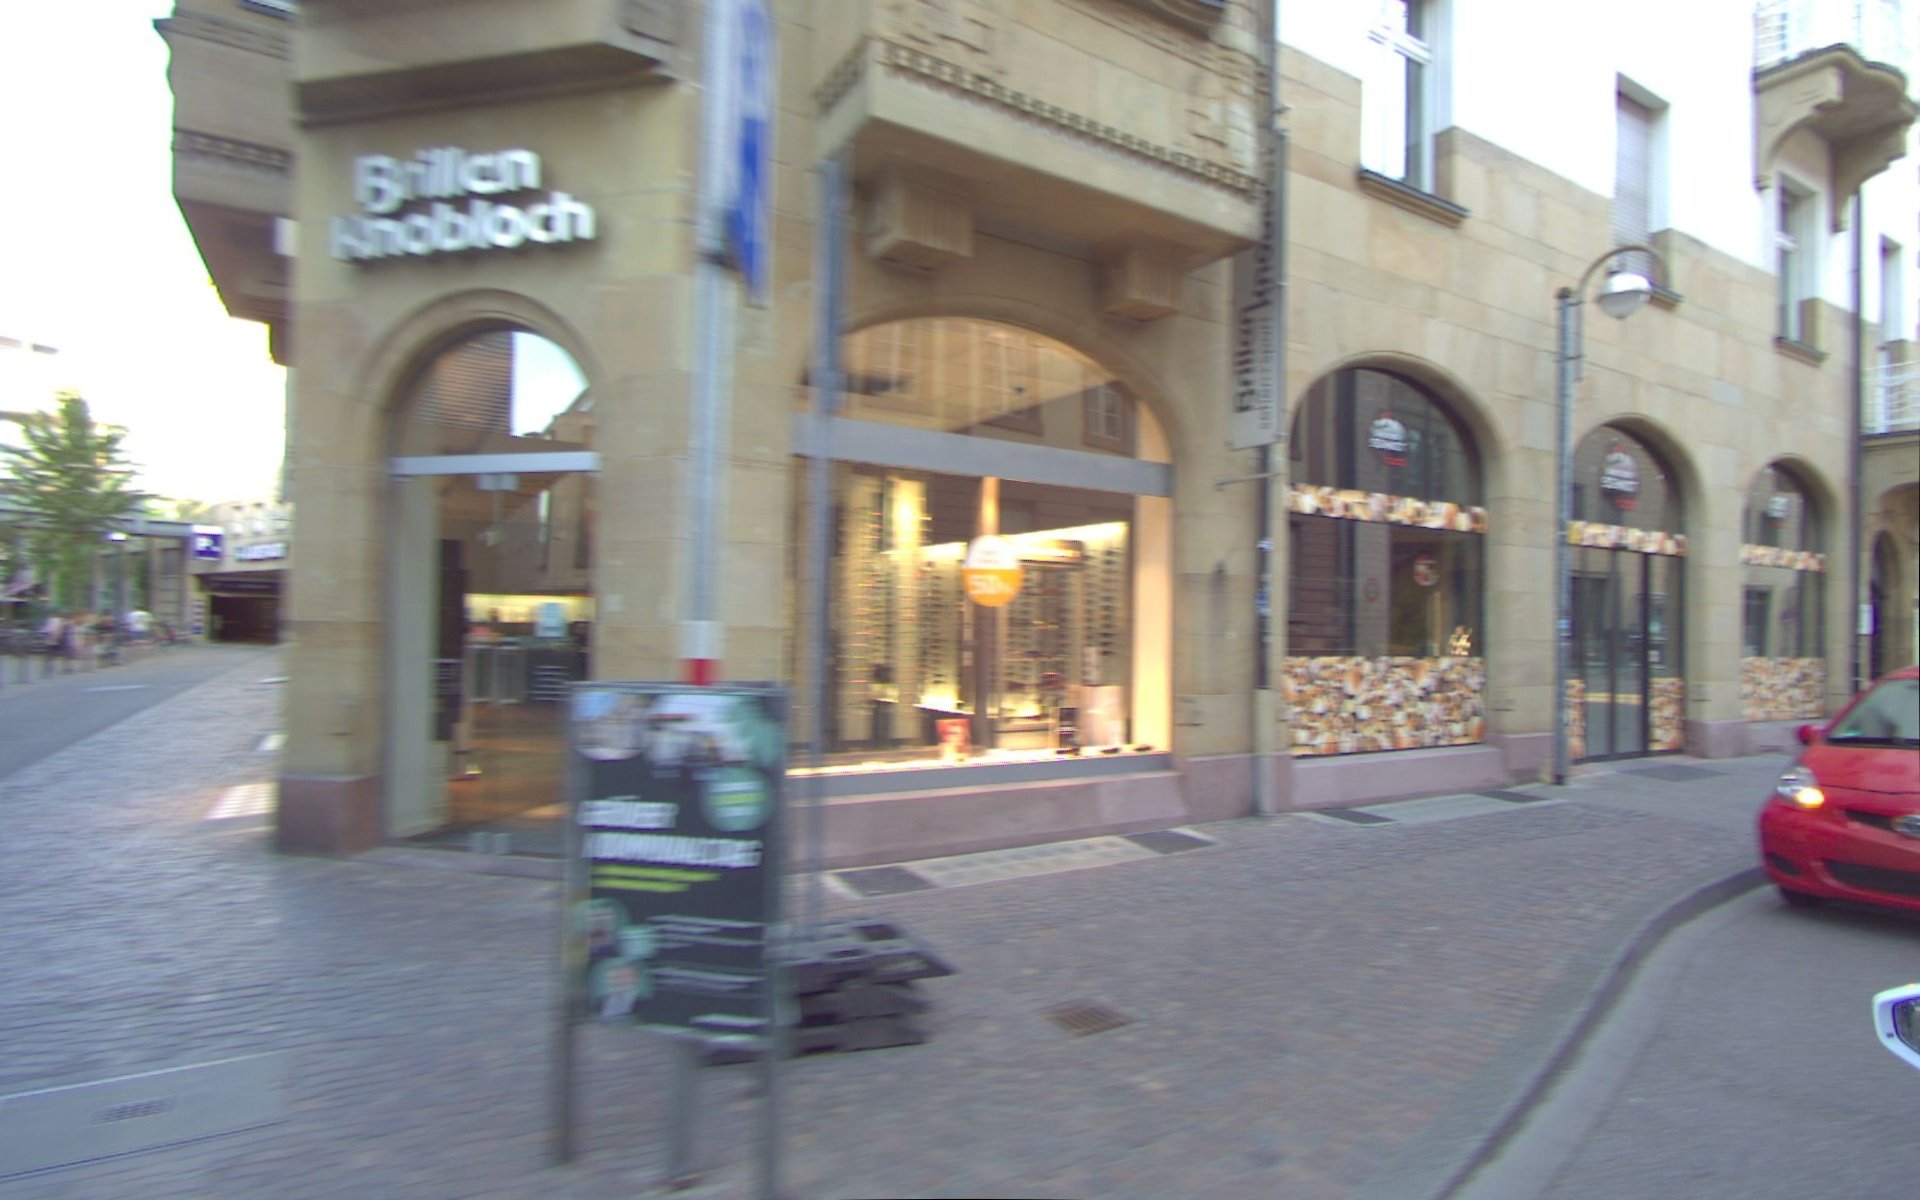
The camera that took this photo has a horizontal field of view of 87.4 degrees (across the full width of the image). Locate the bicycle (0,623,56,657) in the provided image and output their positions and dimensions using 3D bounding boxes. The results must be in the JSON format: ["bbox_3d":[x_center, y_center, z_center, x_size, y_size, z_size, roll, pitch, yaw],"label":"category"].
[{"bbox_3d":[-35.110,1.464,36.881,0.722,1.216,2.754,0,-2,40],"label":"bicycle"}]

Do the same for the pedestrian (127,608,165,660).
[{"bbox_3d":[-28.429,1.200,35.109,0.856,1.780,0.792,2,-3,-31],"label":"pedestrian"}]

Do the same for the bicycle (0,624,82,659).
[{"bbox_3d":[-32.496,1.439,35.013,0.722,1.216,2.754,0,-2,40],"label":"bicycle"}]

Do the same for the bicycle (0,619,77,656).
[{"bbox_3d":[-31.512,1.261,33.696,0.722,1.216,2.754,0,-2,40],"label":"bicycle"}]

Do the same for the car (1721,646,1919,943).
[{"bbox_3d":[6.509,1.045,6.059,3.886,1.488,1.650,2,-5,-30],"label":"car"}]

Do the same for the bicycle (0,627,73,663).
[{"bbox_3d":[-33.363,1.591,35.638,0.722,1.216,2.754,0,-2,40],"label":"bicycle"}]

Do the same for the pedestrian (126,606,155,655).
[{"bbox_3d":[-30.374,1.135,37.242,0.625,1.780,0.792,2,-2,-30],"label":"pedestrian"}]

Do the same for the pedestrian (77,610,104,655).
[{"bbox_3d":[-32.128,1.215,37.103,0.580,1.624,0.622,2,-2,-31],"label":"pedestrian"}]

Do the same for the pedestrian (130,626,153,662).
[{"bbox_3d":[-27.379,1.478,33.605,0.462,1.183,0.517,2,-2,-31],"label":"pedestrian"}]

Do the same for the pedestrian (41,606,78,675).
[{"bbox_3d":[-23.549,1.059,26.278,0.654,1.787,0.608,2,-2,-45],"label":"pedestrian"}]
